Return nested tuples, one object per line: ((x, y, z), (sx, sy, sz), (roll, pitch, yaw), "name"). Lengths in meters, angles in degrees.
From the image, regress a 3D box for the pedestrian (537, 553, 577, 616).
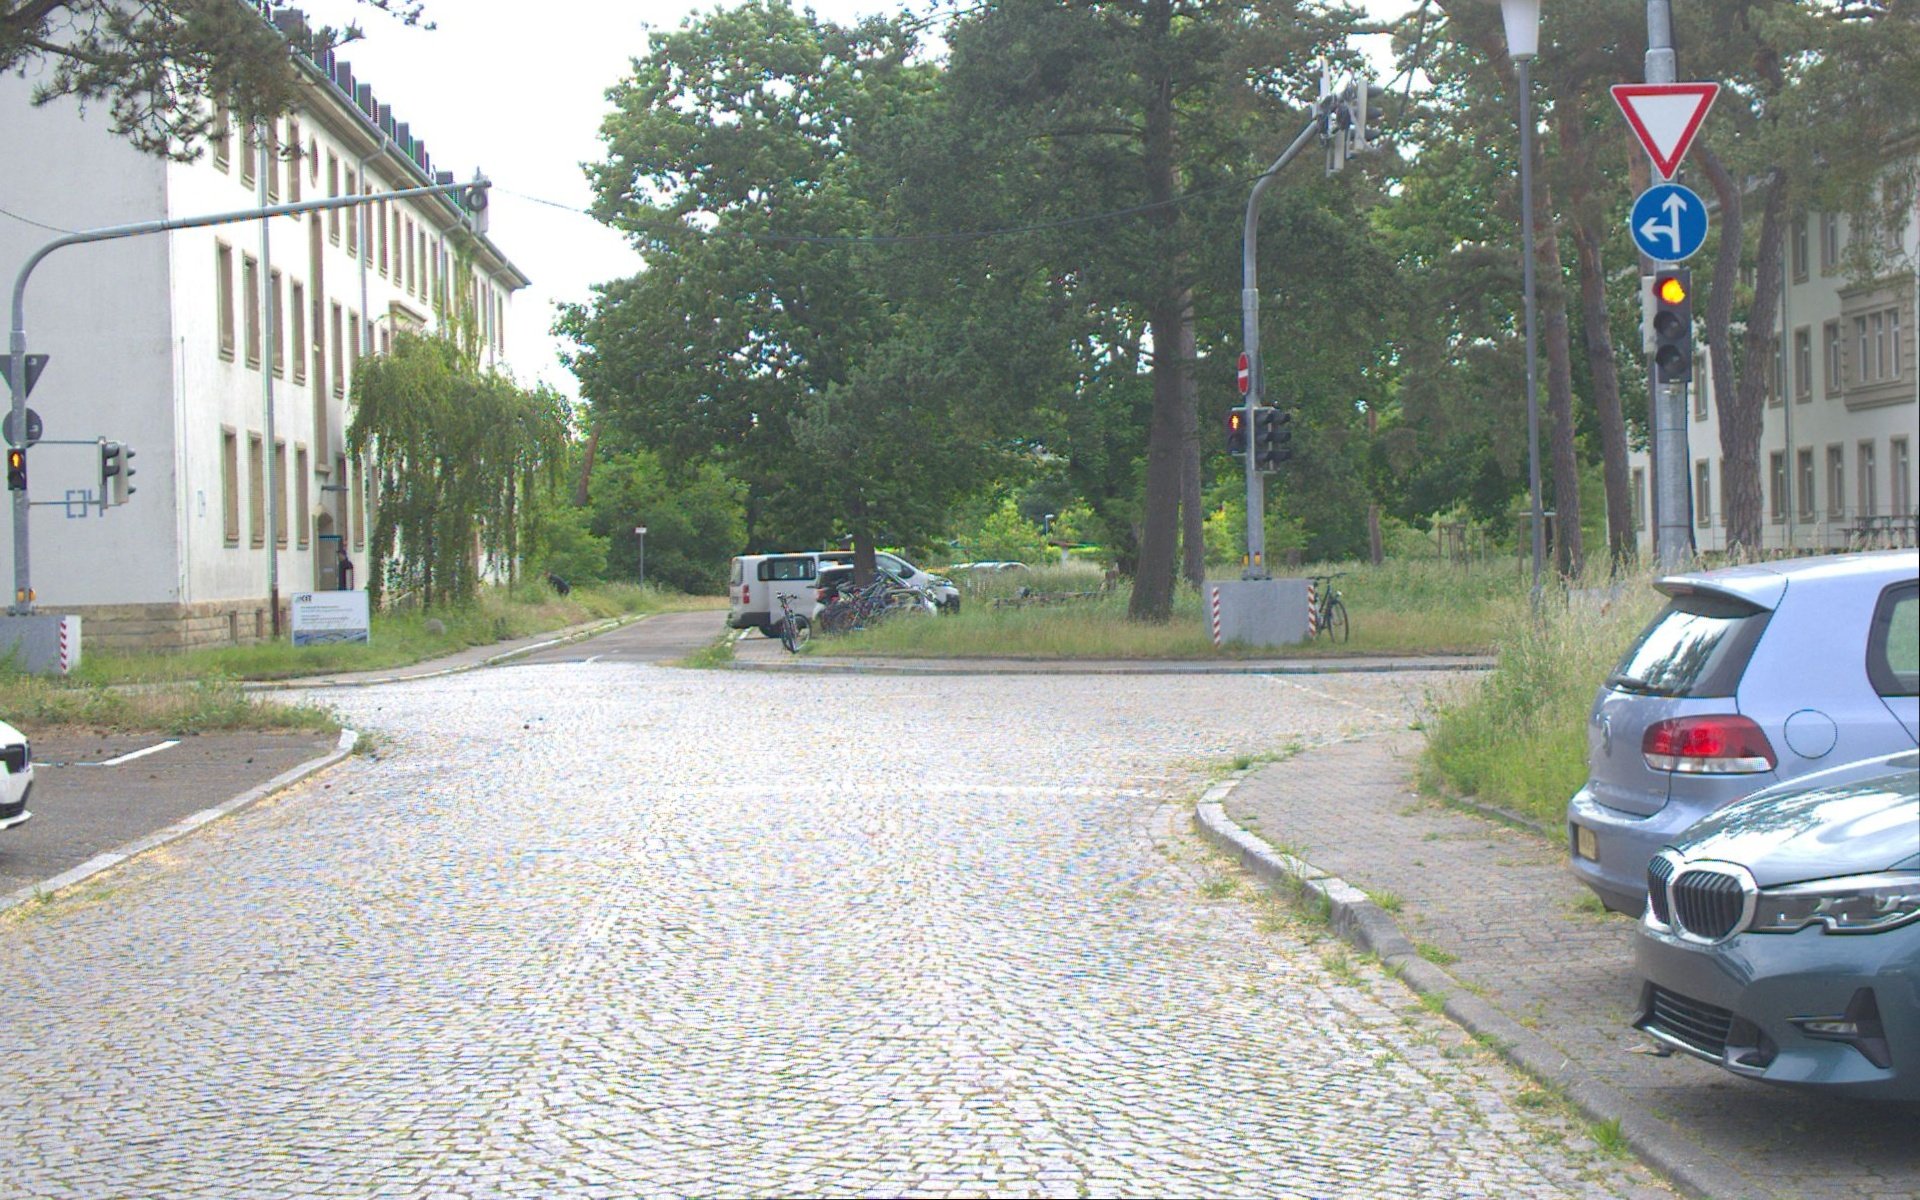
((-12.659, -0.488, 107.973), (1.239, 1.952, 1.121), (0, 0, -7), "pedestrian")

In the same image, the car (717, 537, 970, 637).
((-2.678, -0.308, 78.594), (5.375, 2.094, 2.179), (-2, 1, -14), "car")

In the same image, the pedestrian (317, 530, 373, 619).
((-13.571, -0.563, 75.916), (1.074, 1.952, 1.121), (0, 0, -2), "pedestrian")

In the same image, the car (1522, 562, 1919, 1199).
((3.857, 0.596, 9.302), (4.227, 1.474, 1.710), (-3, 1, -13), "car")

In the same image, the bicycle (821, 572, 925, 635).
((-1.621, 0.055, 63.819), (1.881, 1.167, 0.665), (0, 0, -7), "bicycle")

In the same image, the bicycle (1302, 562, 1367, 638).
((5.306, -0.009, 48.778), (0.663, 1.047, 1.888), (0, 1, -2), "bicycle")

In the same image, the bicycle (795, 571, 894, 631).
((-2.273, 0.024, 67.296), (1.881, 1.167, 0.665), (0, 0, -7), "bicycle")

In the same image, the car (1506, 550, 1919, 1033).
((4.154, 0.534, 11.867), (4.134, 1.458, 1.634), (-2, 1, -7), "car")

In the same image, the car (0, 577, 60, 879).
((-7.164, 0.745, 18.408), (4.297, 1.548, 1.812), (-2, 1, -8), "car")

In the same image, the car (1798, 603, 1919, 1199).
((3.954, 0.653, 6.537), (4.184, 1.432, 1.756), (-2, 1, -9), "car")

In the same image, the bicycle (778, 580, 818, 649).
((-2.786, 0.243, 59.143), (0.663, 1.167, 1.888), (0, 0, -2), "bicycle")

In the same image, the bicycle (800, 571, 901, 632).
((-2.118, 0.033, 66.348), (1.881, 1.167, 0.665), (0, 0, -7), "bicycle")
